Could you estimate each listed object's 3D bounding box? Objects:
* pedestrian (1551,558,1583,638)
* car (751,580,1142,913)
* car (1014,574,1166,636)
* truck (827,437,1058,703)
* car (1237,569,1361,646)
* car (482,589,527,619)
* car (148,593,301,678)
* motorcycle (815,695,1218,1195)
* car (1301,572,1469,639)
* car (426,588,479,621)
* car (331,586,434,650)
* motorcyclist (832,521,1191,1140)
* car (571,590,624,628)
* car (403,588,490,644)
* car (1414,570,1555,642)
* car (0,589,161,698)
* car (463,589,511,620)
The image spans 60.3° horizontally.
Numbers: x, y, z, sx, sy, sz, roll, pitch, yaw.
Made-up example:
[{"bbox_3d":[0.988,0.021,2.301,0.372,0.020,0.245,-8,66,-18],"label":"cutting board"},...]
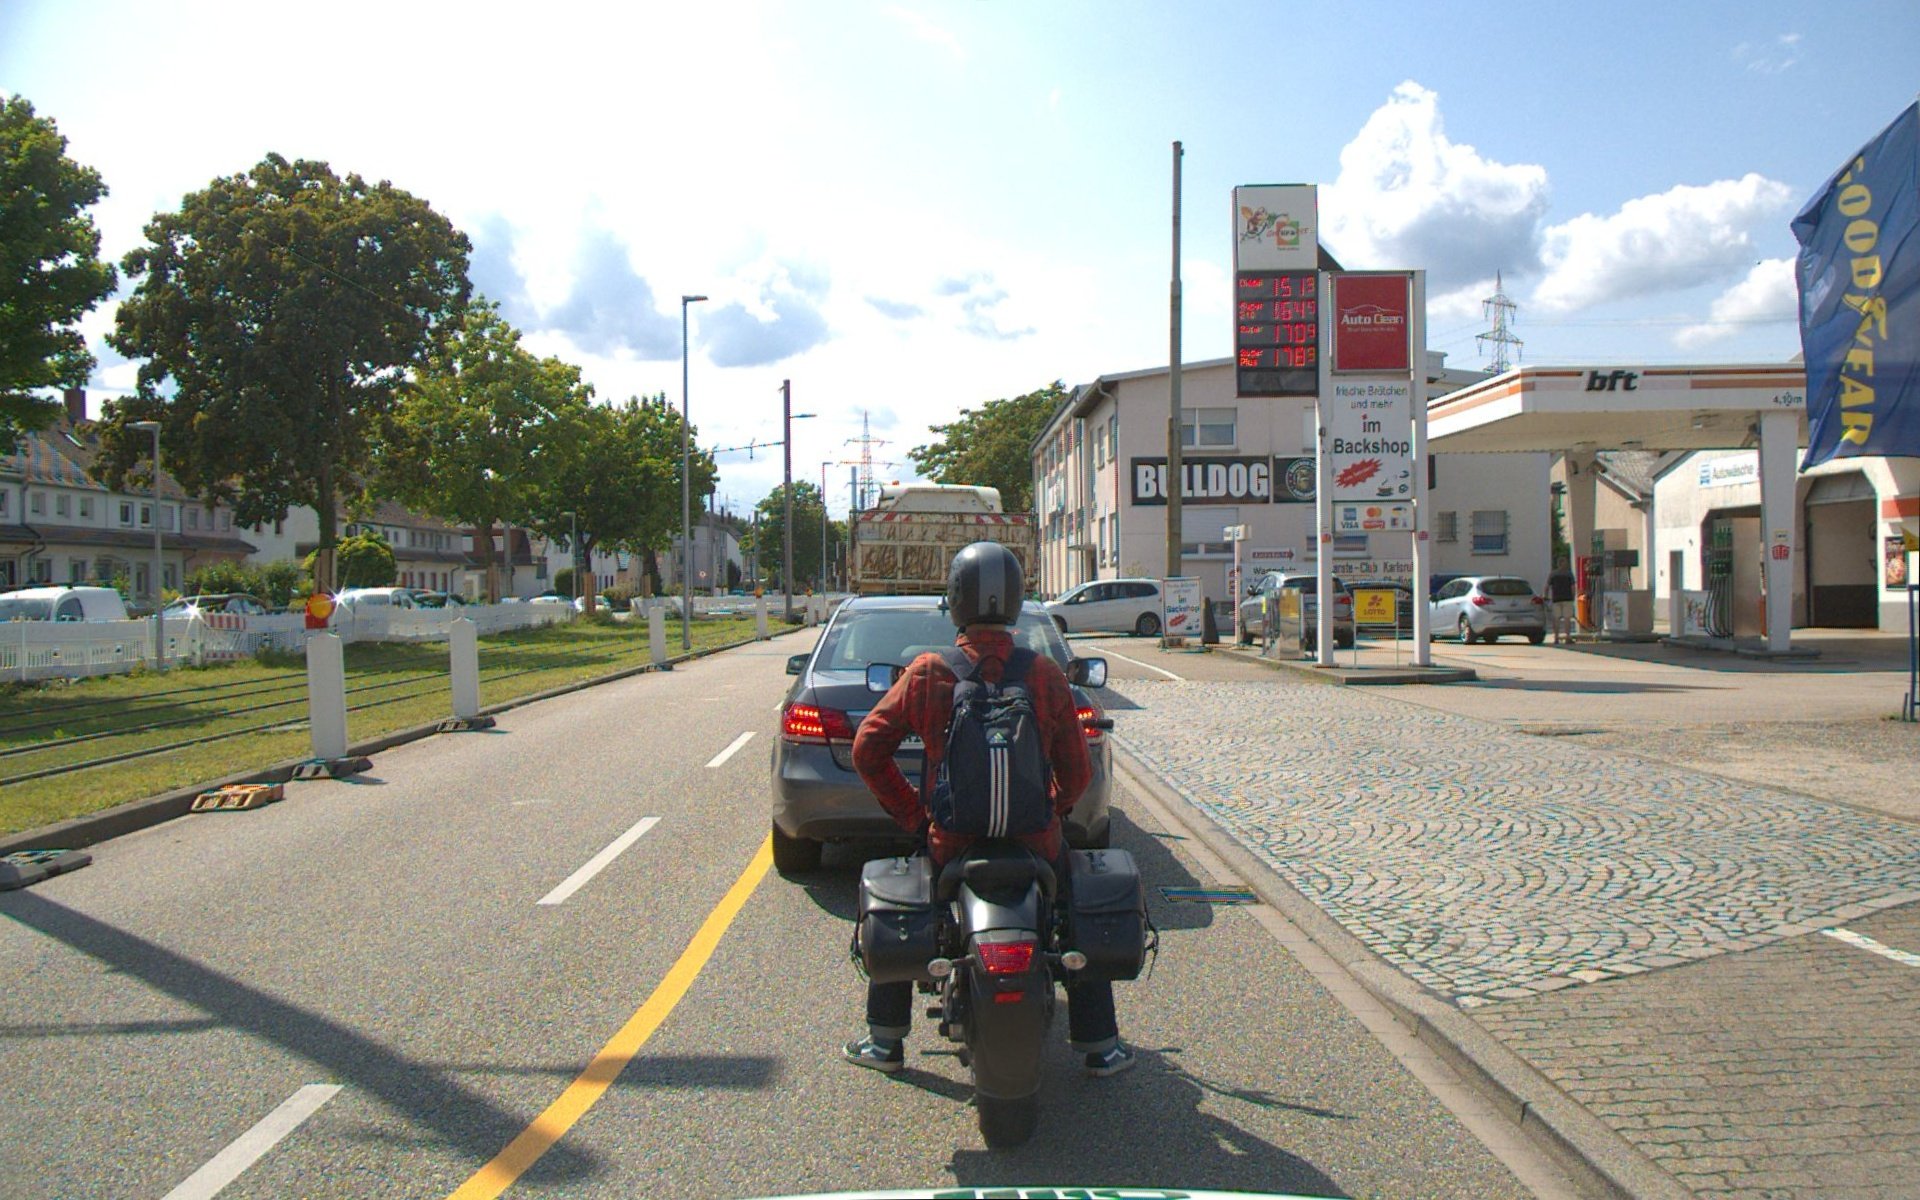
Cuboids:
[{"bbox_3d":[13.137,-0.046,35.788,0.621,1.712,0.622,-1,0,20],"label":"pedestrian"},{"bbox_3d":[-0.122,0.663,9.718,1.795,1.505,4.008,-1,0,-2],"label":"car"},{"bbox_3d":[3.672,0.119,47.080,4.029,1.652,1.682,-1,0,-9],"label":"car"},{"bbox_3d":[-0.354,-0.420,25.465,2.910,3.362,8.404,-1,0,-2],"label":"truck"},{"bbox_3d":[7.459,0.142,36.753,1.795,1.562,4.008,-1,0,-2],"label":"car"},{"bbox_3d":[-28.663,0.233,104.143,1.664,1.770,4.061,-1,0,-1],"label":"car"},{"bbox_3d":[-16.671,0.760,37.713,1.664,1.770,4.053,-1,0,-1],"label":"car"},{"bbox_3d":[0.120,0.901,5.190,0.956,1.031,2.431,1,0,-1],"label":"motorcycle"},{"bbox_3d":[11.187,0.128,43.697,4.020,1.652,1.686,-1,0,1],"label":"car"},{"bbox_3d":[-28.180,0.247,91.931,1.664,1.770,4.061,-1,0,-1],"label":"car"},{"bbox_3d":[-16.911,0.495,48.611,1.664,1.770,3.860,-1,0,-1],"label":"car"},{"bbox_3d":[0.131,0.619,5.072,0.950,1.662,1.214,1,0,-1],"label":"motorcyclist"},{"bbox_3d":[-17.386,0.407,79.494,1.664,1.770,3.860,-1,0,-1],"label":"car"},{"bbox_3d":[-17.017,0.499,54.977,1.664,1.770,3.860,-1,0,-1],"label":"car"},{"bbox_3d":[11.774,0.103,37.416,1.795,1.505,4.008,-1,0,-2],"label":"car"},{"bbox_3d":[-16.416,0.746,30.290,1.664,1.849,3.860,-1,0,-1],"label":"car"},{"bbox_3d":[-28.060,0.262,98.141,1.664,1.770,4.061,-1,0,-1],"label":"car"}]
